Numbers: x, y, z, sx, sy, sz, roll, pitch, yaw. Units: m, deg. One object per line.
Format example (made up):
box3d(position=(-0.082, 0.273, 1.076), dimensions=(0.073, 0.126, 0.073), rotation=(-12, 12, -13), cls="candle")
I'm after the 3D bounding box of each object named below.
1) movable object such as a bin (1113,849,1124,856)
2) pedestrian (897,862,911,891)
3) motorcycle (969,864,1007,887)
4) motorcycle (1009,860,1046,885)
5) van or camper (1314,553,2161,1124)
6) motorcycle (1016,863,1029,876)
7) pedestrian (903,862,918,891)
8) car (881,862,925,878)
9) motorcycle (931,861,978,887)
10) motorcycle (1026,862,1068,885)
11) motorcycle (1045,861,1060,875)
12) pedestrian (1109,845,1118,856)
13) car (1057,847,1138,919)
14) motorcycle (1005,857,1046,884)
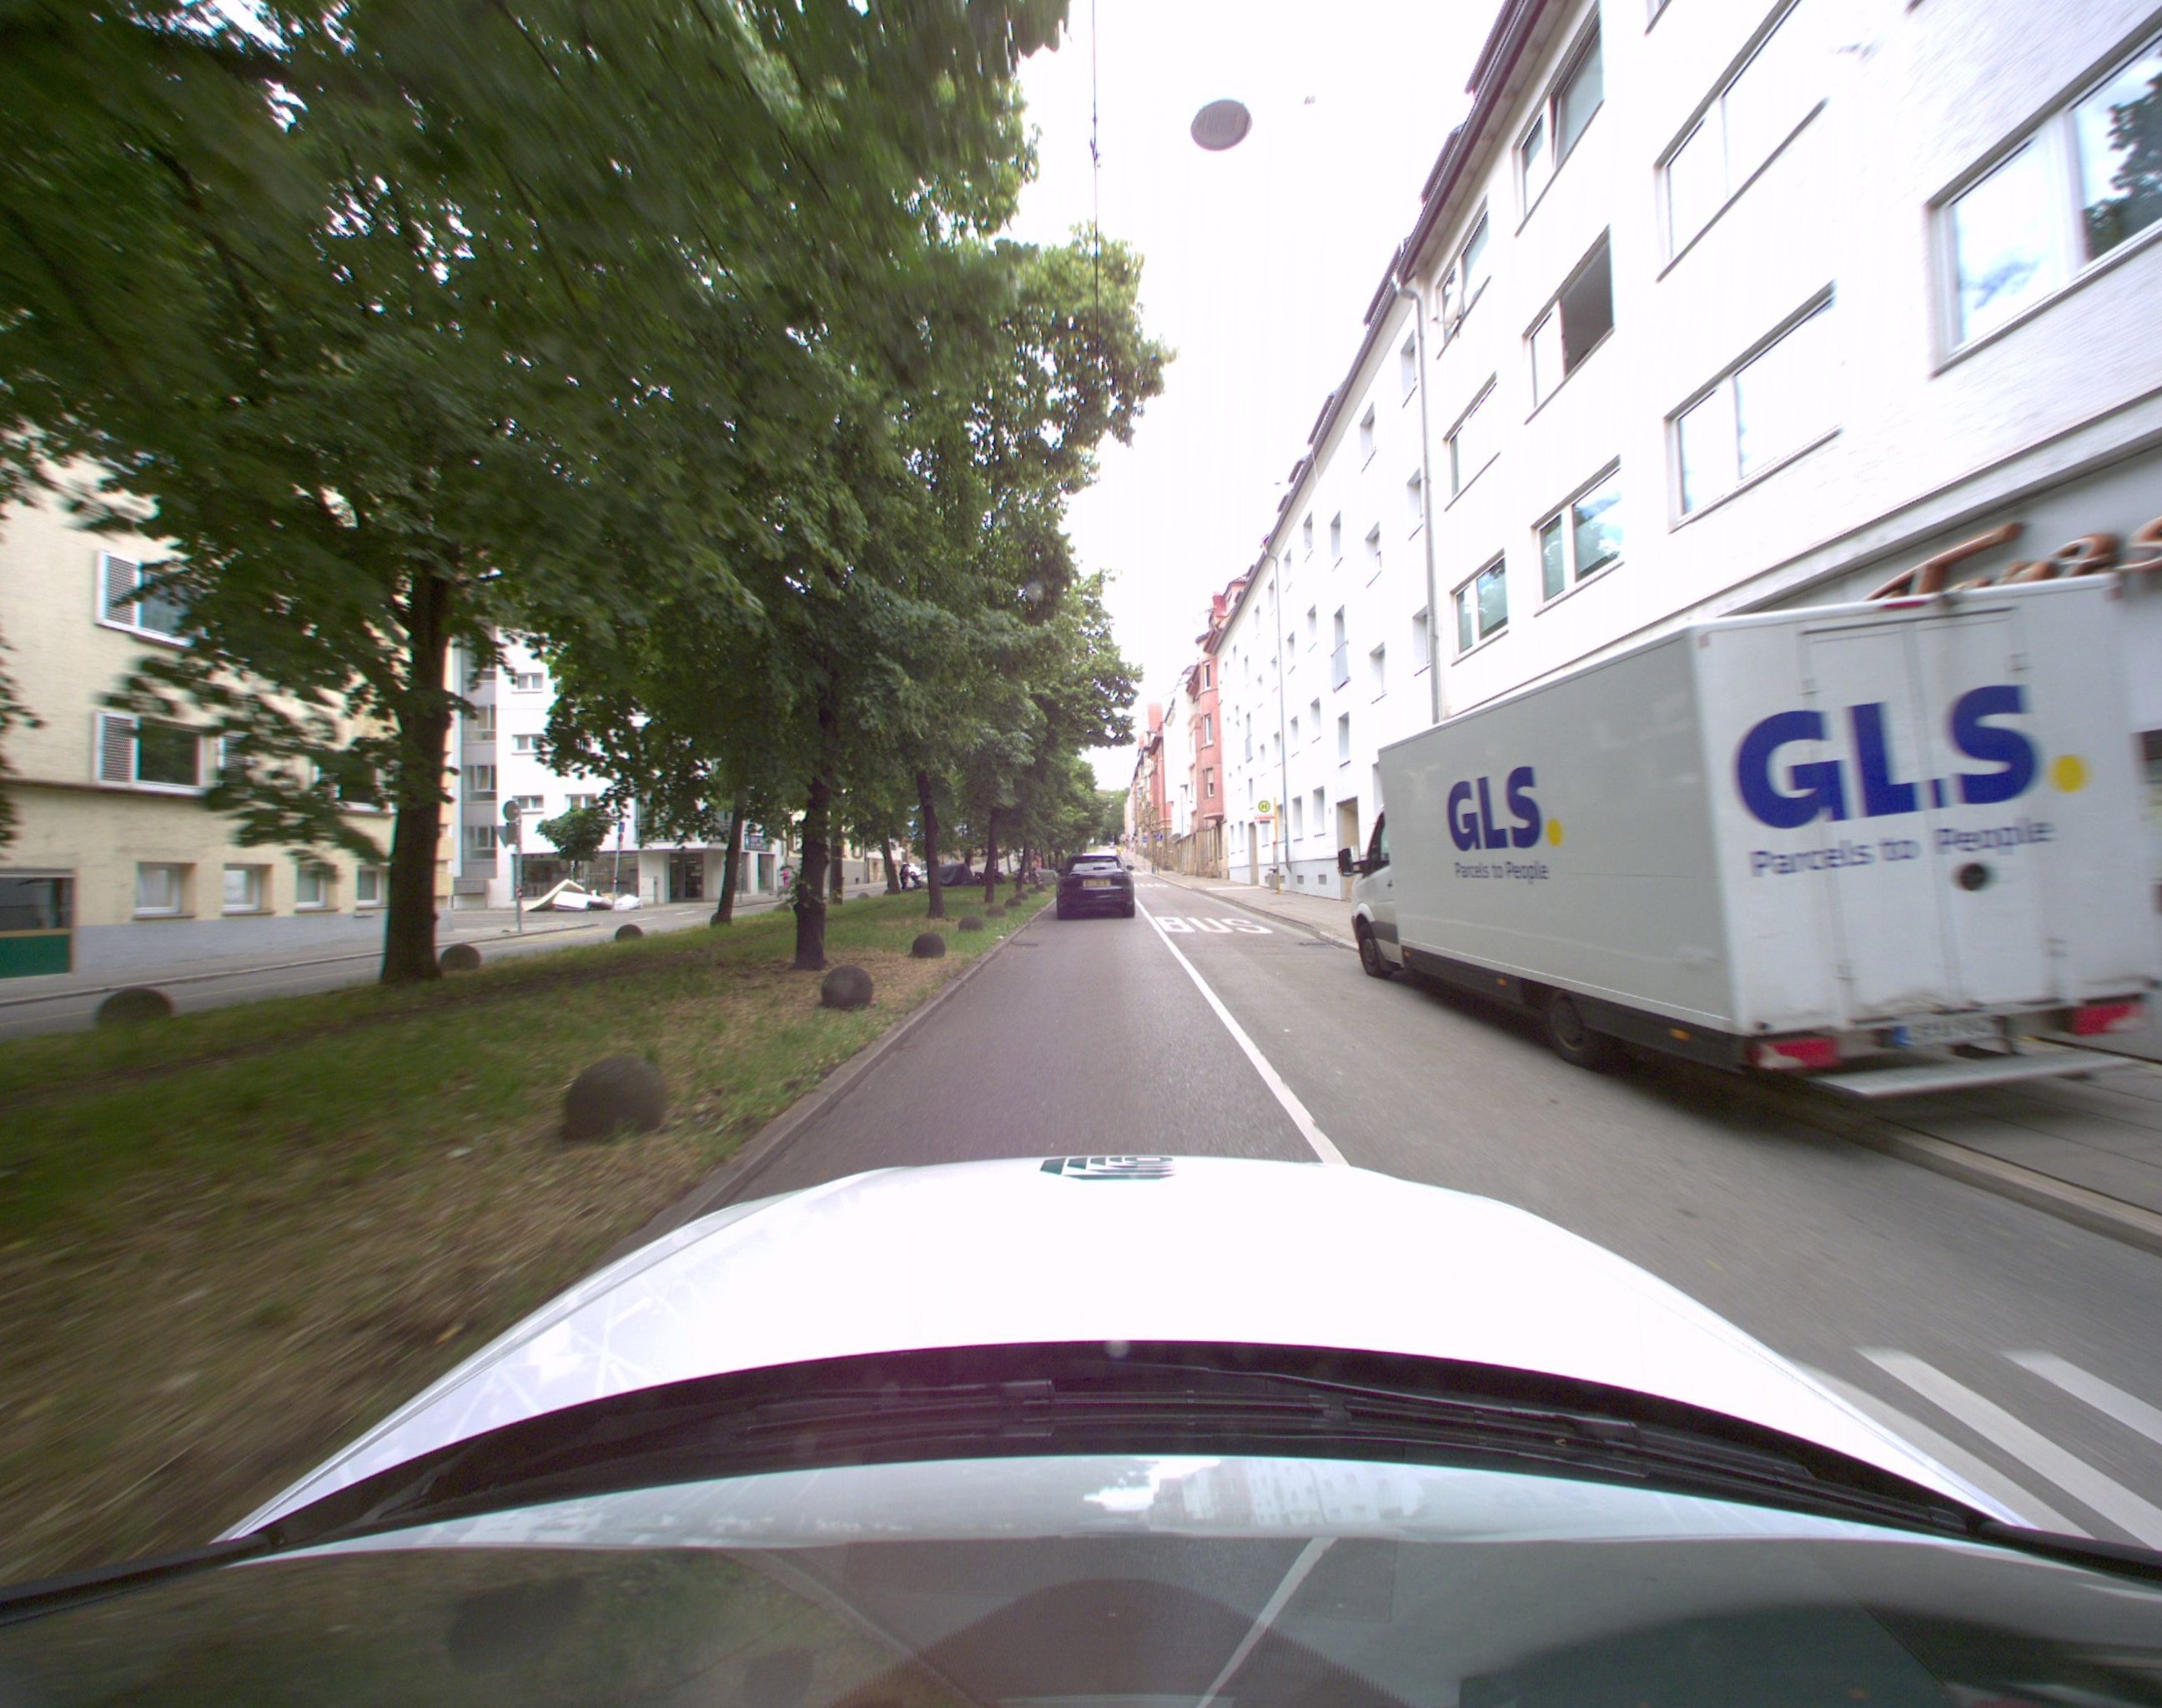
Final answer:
box3d(position=(7.051, -0.313, 153.234), dimensions=(1.246, 1.274, 1.826), rotation=(-1, -1, -34), cls="movable object such as a bin")
box3d(position=(-9.997, 1.288, 46.020), dimensions=(0.633, 1.613, 0.763), rotation=(-1, 0, -4), cls="pedestrian")
box3d(position=(-5.529, 1.272, 48.323), dimensions=(2.018, 1.235, 0.898), rotation=(-2, 0, 6), cls="motorcycle")
box3d(position=(-2.960, 1.016, 45.114), dimensions=(1.918, 1.297, 0.893), rotation=(-2, -2, -1), cls="motorcycle")
box3d(position=(4.417, -0.057, 7.768), dimensions=(2.470, 2.803, 7.242), rotation=(-3, 0, 2), cls="van or camper")
box3d(position=(-5.178, 1.366, 72.262), dimensions=(0.897, 1.107, 2.252), rotation=(-3, -2, 2), cls="motorcycle")
box3d(position=(-9.838, 1.285, 46.932), dimensions=(0.660, 1.616, 0.580), rotation=(-1, 0, 3), cls="pedestrian")
box3d(position=(-18.199, 1.622, 83.287), dimensions=(3.972, 1.497, 2.001), rotation=(-2, 0, 1), cls="car")
box3d(position=(-6.984, 1.095, 45.130), dimensions=(2.374, 1.317, 1.045), rotation=(-2, 0, 0), cls="motorcycle")
box3d(position=(-1.974, 1.149, 47.644), dimensions=(2.348, 1.235, 1.033), rotation=(-2, 1, 0), cls="motorcycle")
box3d(position=(-2.517, 1.203, 72.343), dimensions=(1.058, 1.148, 2.449), rotation=(-3, 0, 2), cls="motorcycle")
box3d(position=(6.206, -0.652, 154.495), dimensions=(1.311, 2.014, 1.009), rotation=(-1, -1, -35), cls="pedestrian")
box3d(position=(0.413, 0.717, 21.727), dimensions=(1.897, 1.666, 4.135), rotation=(-2, 0, 0), cls="car")
box3d(position=(-3.134, 0.912, 45.880), dimensions=(2.184, 1.438, 0.875), rotation=(-1, 0, 3), cls="motorcycle")
